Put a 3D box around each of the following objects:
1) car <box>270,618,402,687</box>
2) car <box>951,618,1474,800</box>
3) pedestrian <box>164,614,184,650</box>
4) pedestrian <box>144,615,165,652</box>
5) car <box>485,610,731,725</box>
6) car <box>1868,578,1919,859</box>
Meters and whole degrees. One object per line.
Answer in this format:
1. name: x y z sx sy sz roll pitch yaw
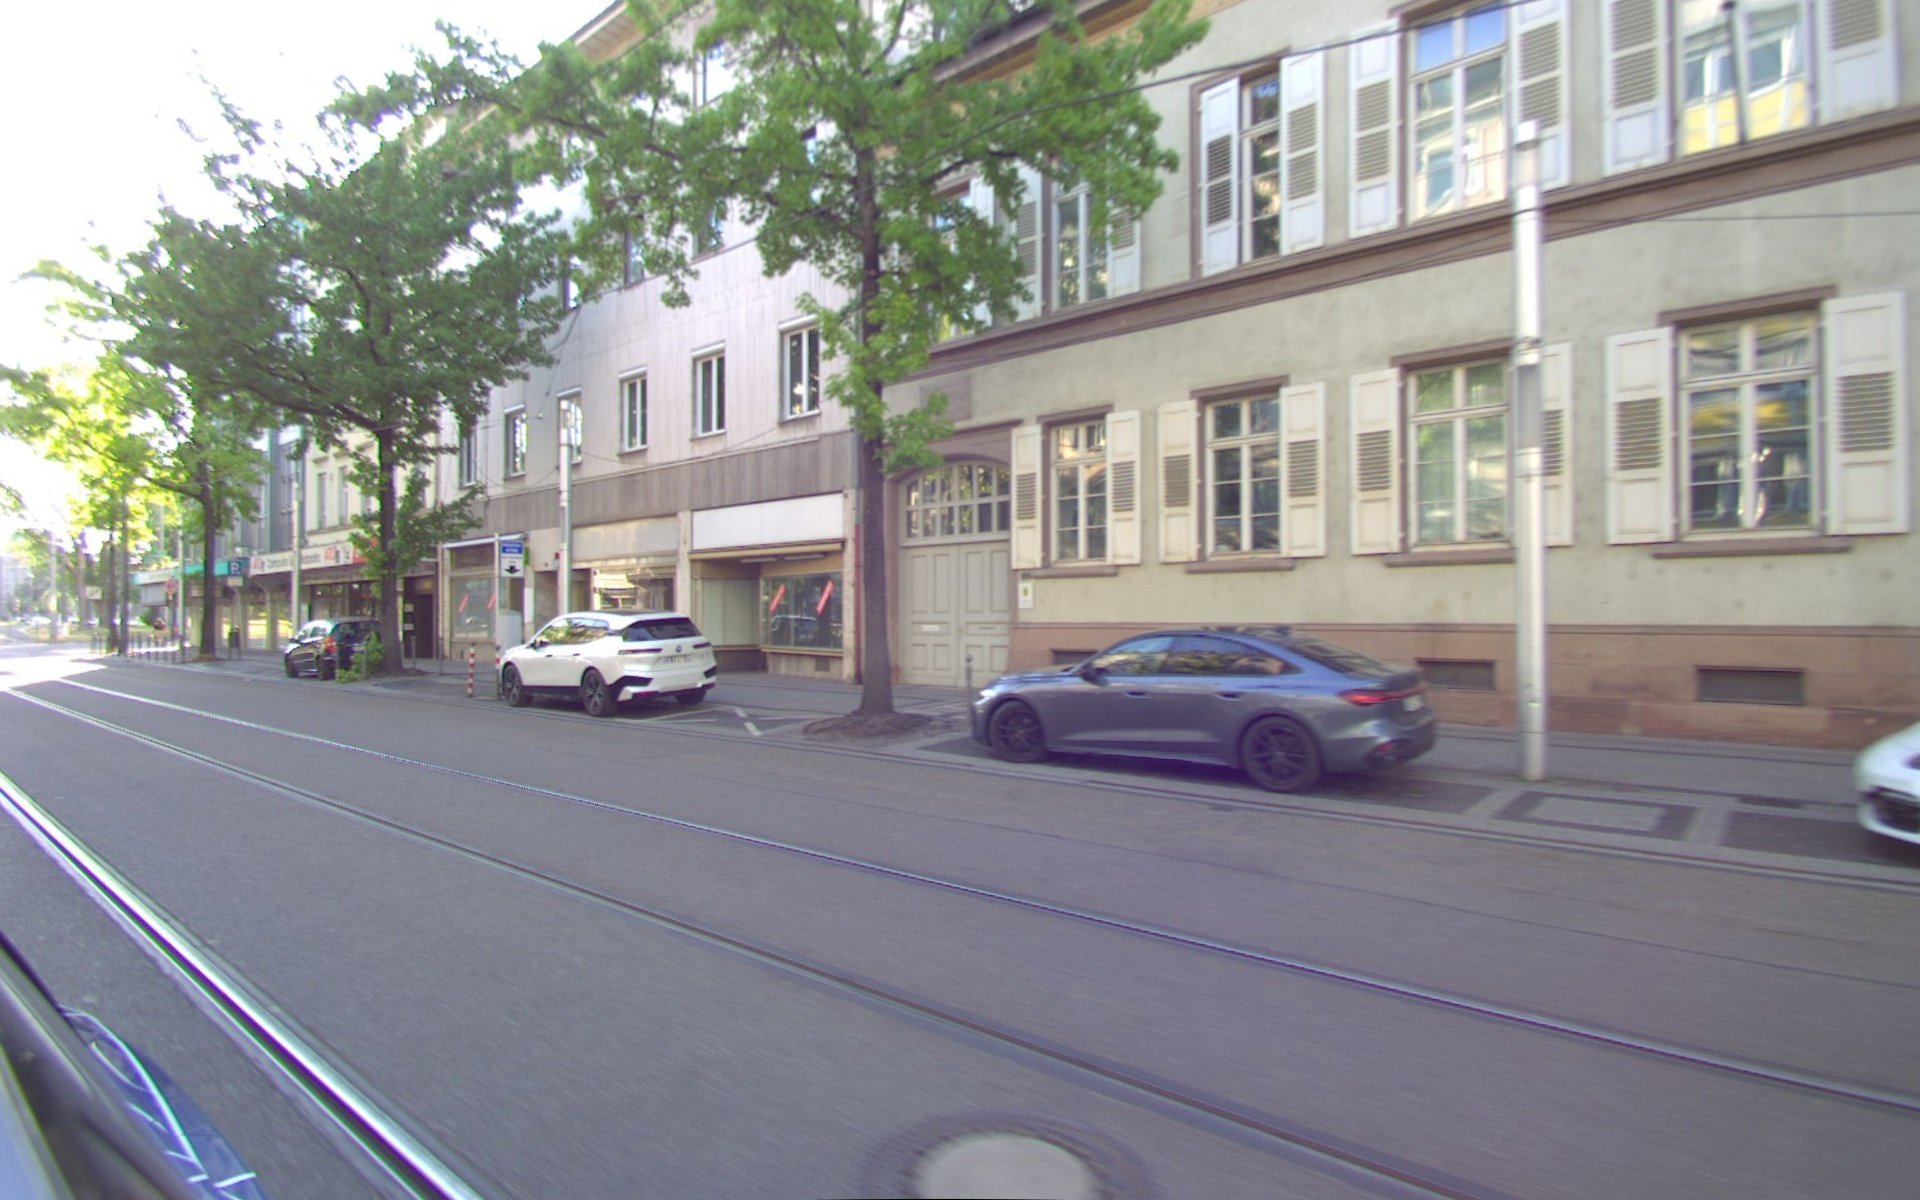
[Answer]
1. car: -17.120 1.359 27.690 3.998 1.652 1.942 -1 2 41
2. car: 2.390 0.910 10.369 4.841 1.423 1.943 -1 -1 39
3. pedestrian: -44.626 1.793 57.431 0.734 2.029 0.788 0 -1 42
4. pedestrian: -45.186 1.861 56.761 0.734 2.029 0.788 0 -1 42
5. car: -6.278 1.066 17.734 4.811 1.652 1.941 -1 2 42
6. car: 7.948 0.666 5.153 4.908 1.652 1.926 -1 0 42
